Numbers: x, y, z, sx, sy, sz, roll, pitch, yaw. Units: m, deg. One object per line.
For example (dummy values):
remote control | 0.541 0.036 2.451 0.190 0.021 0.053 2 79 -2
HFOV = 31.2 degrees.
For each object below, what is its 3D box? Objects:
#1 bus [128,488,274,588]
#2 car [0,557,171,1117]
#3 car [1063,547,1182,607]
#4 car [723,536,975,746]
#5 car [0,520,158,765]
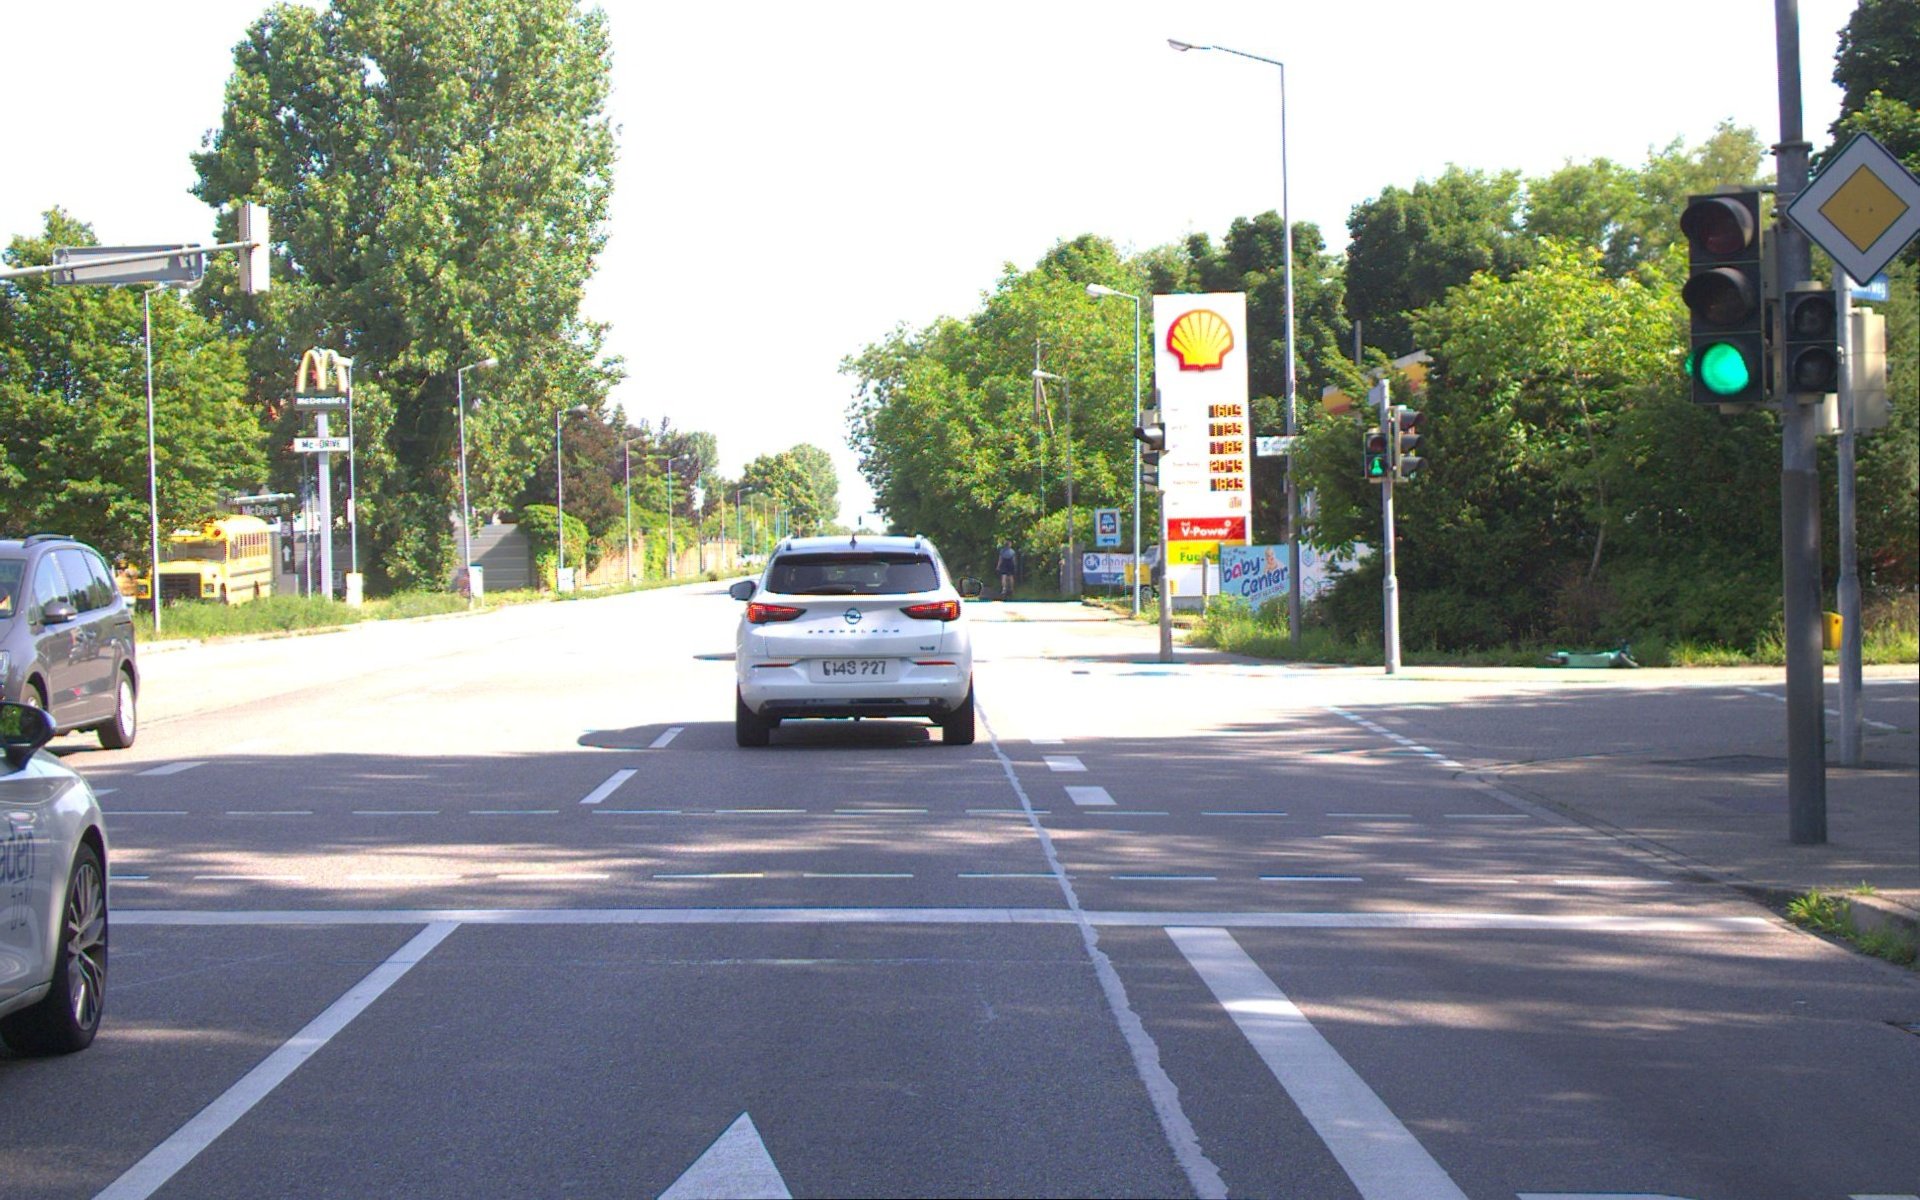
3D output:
bus | -21.393 -1.715 97.312 2.579 2.670 8.998 1 0 -3
car | -3.341 0.609 8.590 1.784 1.419 4.423 1 1 -1
car | 4.227 -0.582 89.372 2.729 1.525 1.574 0 -1 43
car | -0.853 0.285 27.528 1.847 1.536 4.225 1 0 -1
car | -7.456 0.312 25.924 1.791 1.691 4.392 -2 0 -1
